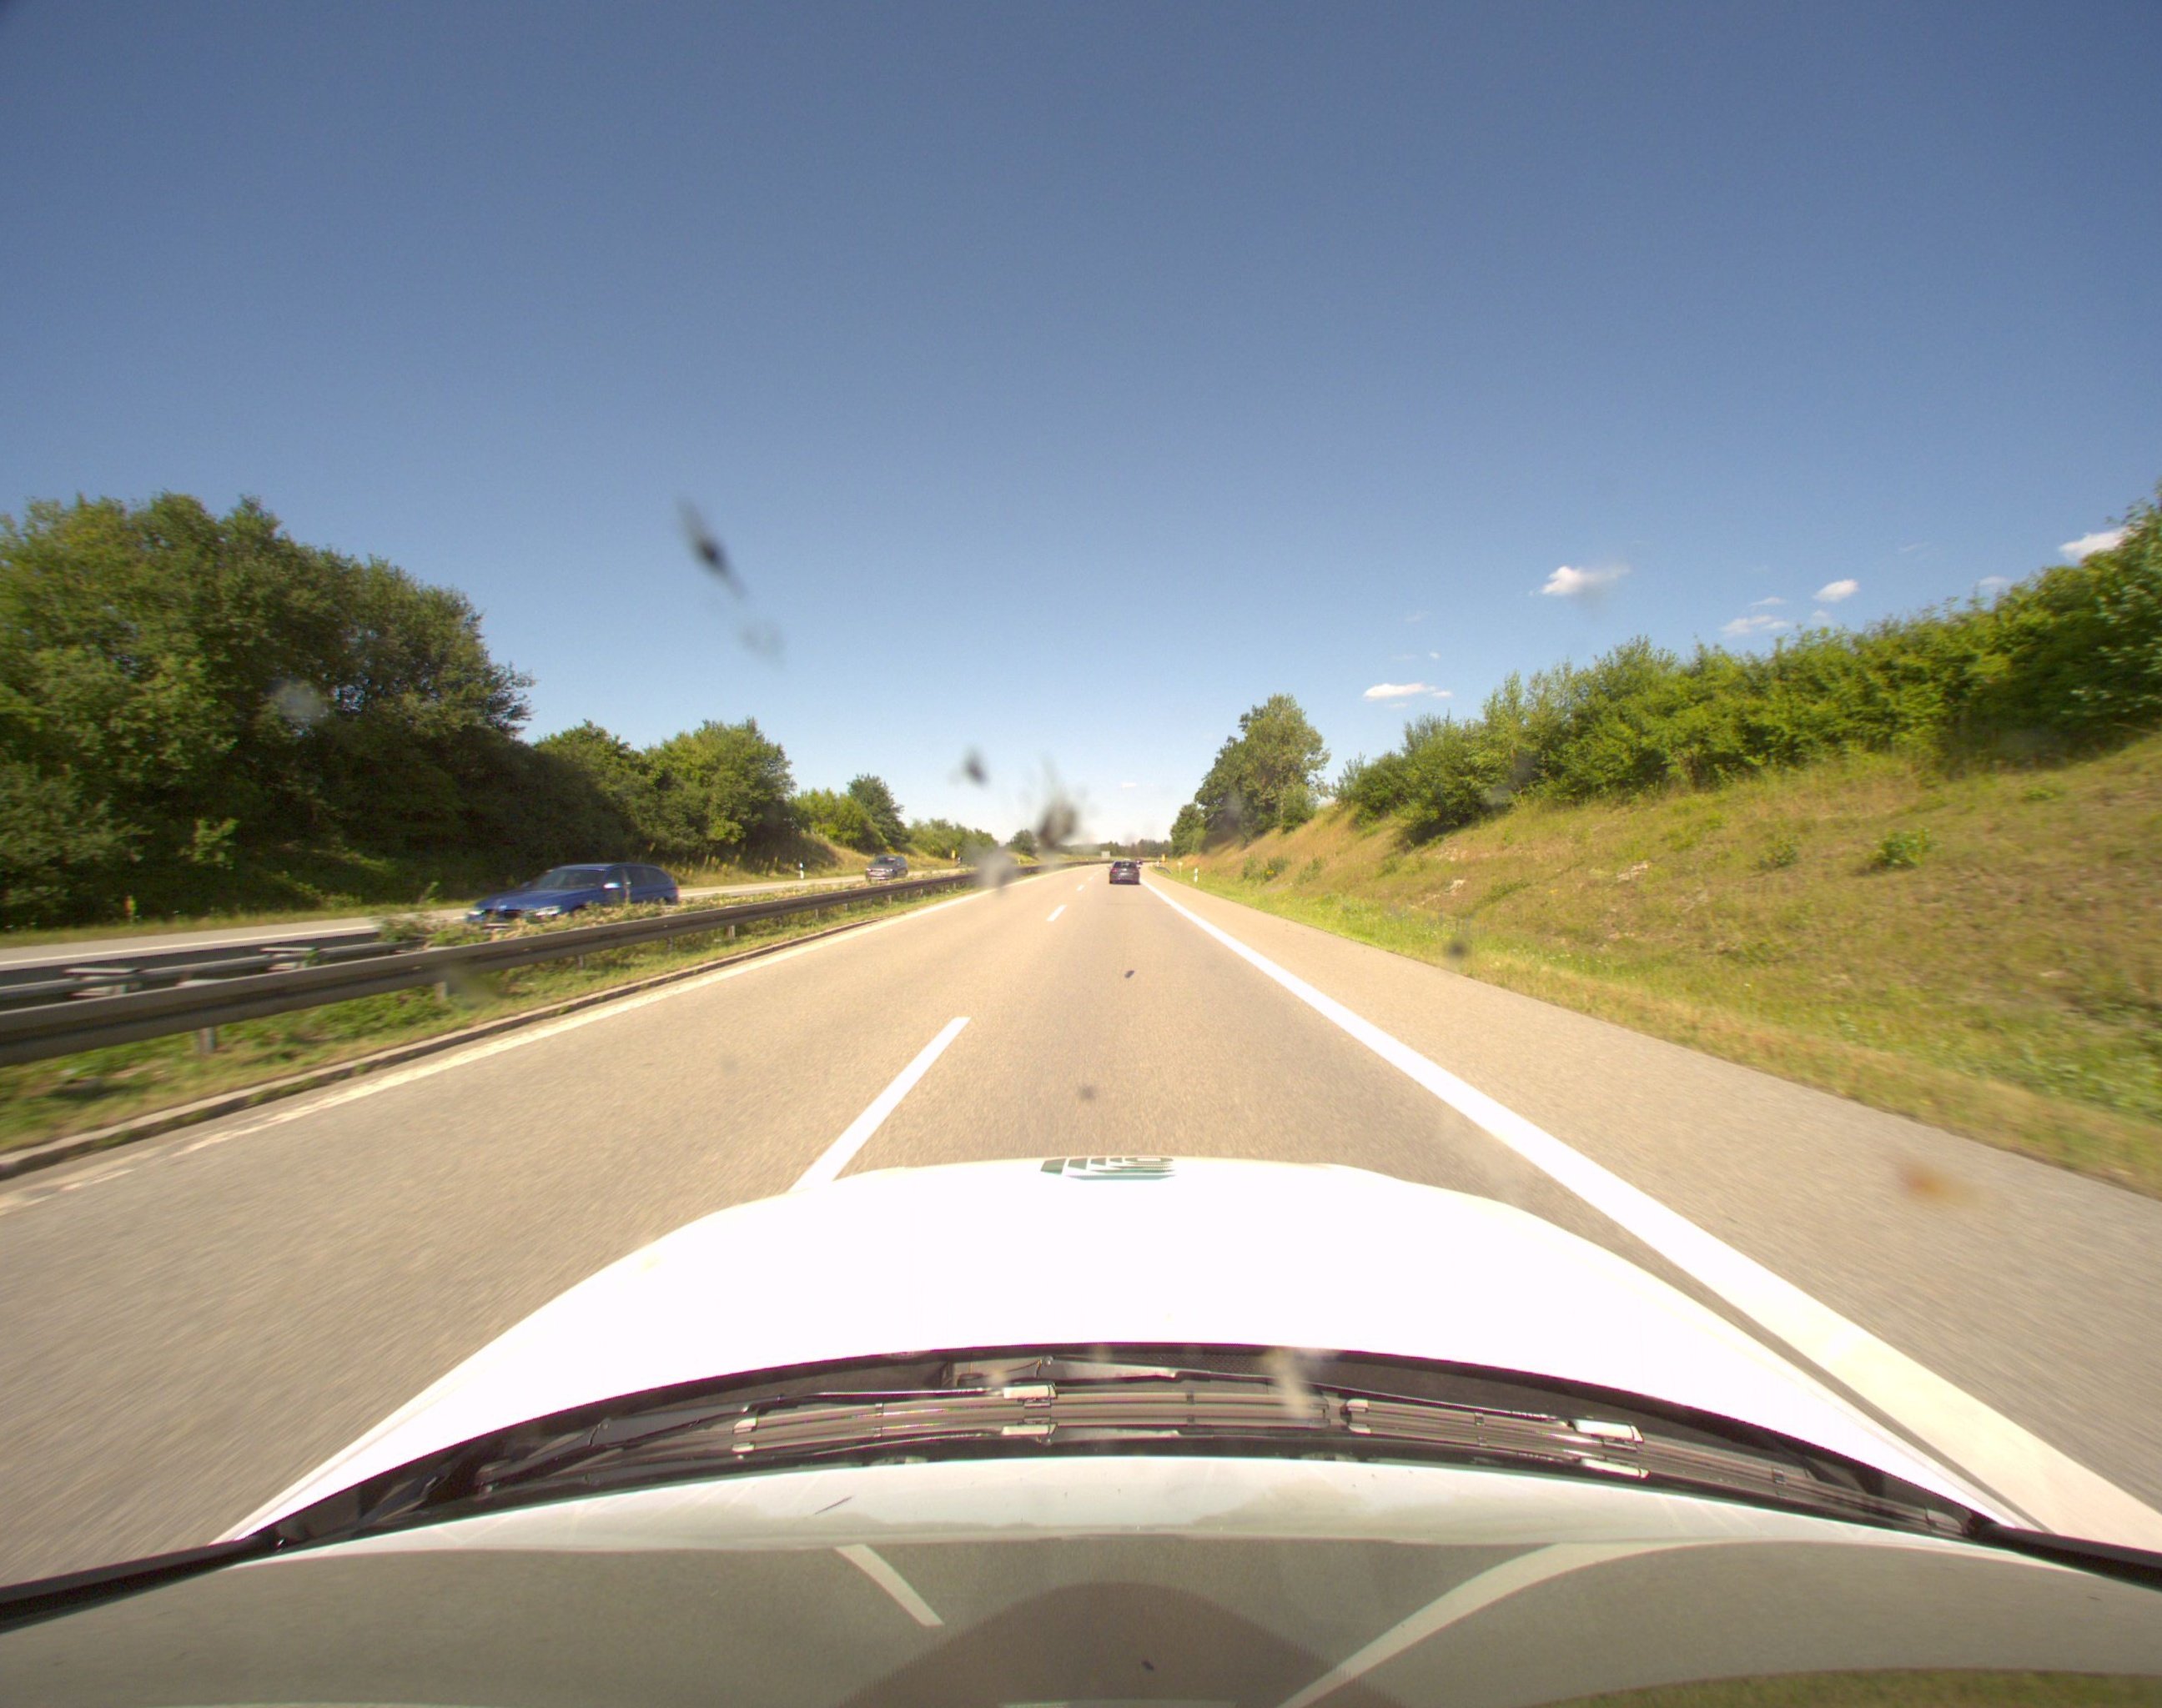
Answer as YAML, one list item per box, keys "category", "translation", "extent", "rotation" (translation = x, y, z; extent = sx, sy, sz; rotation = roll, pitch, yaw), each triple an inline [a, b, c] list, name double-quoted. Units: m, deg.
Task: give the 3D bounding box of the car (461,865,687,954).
- category: "car"
  translation: [-9.890, 0.996, 16.353]
  extent: [1.761, 1.494, 4.231]
  rotation: [-2, -1, 2]

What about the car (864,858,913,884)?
- category: "car"
  translation: [-12.116, 1.050, 51.494]
  extent: [1.761, 1.584, 4.794]
  rotation: [1, -1, 2]

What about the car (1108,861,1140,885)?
- category: "car"
  translation: [2.549, 1.113, 48.501]
  extent: [1.784, 1.344, 4.002]
  rotation: [1, 0, 2]

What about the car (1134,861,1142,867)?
- category: "car"
  translation: [13.813, 2.341, 196.174]
  extent: [1.704, 1.387, 3.355]
  rotation: [4, -1, 1]

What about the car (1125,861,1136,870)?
- category: "car"
  translation: [9.131, 2.120, 150.444]
  extent: [1.999, 1.344, 4.002]
  rotation: [4, -1, 2]
